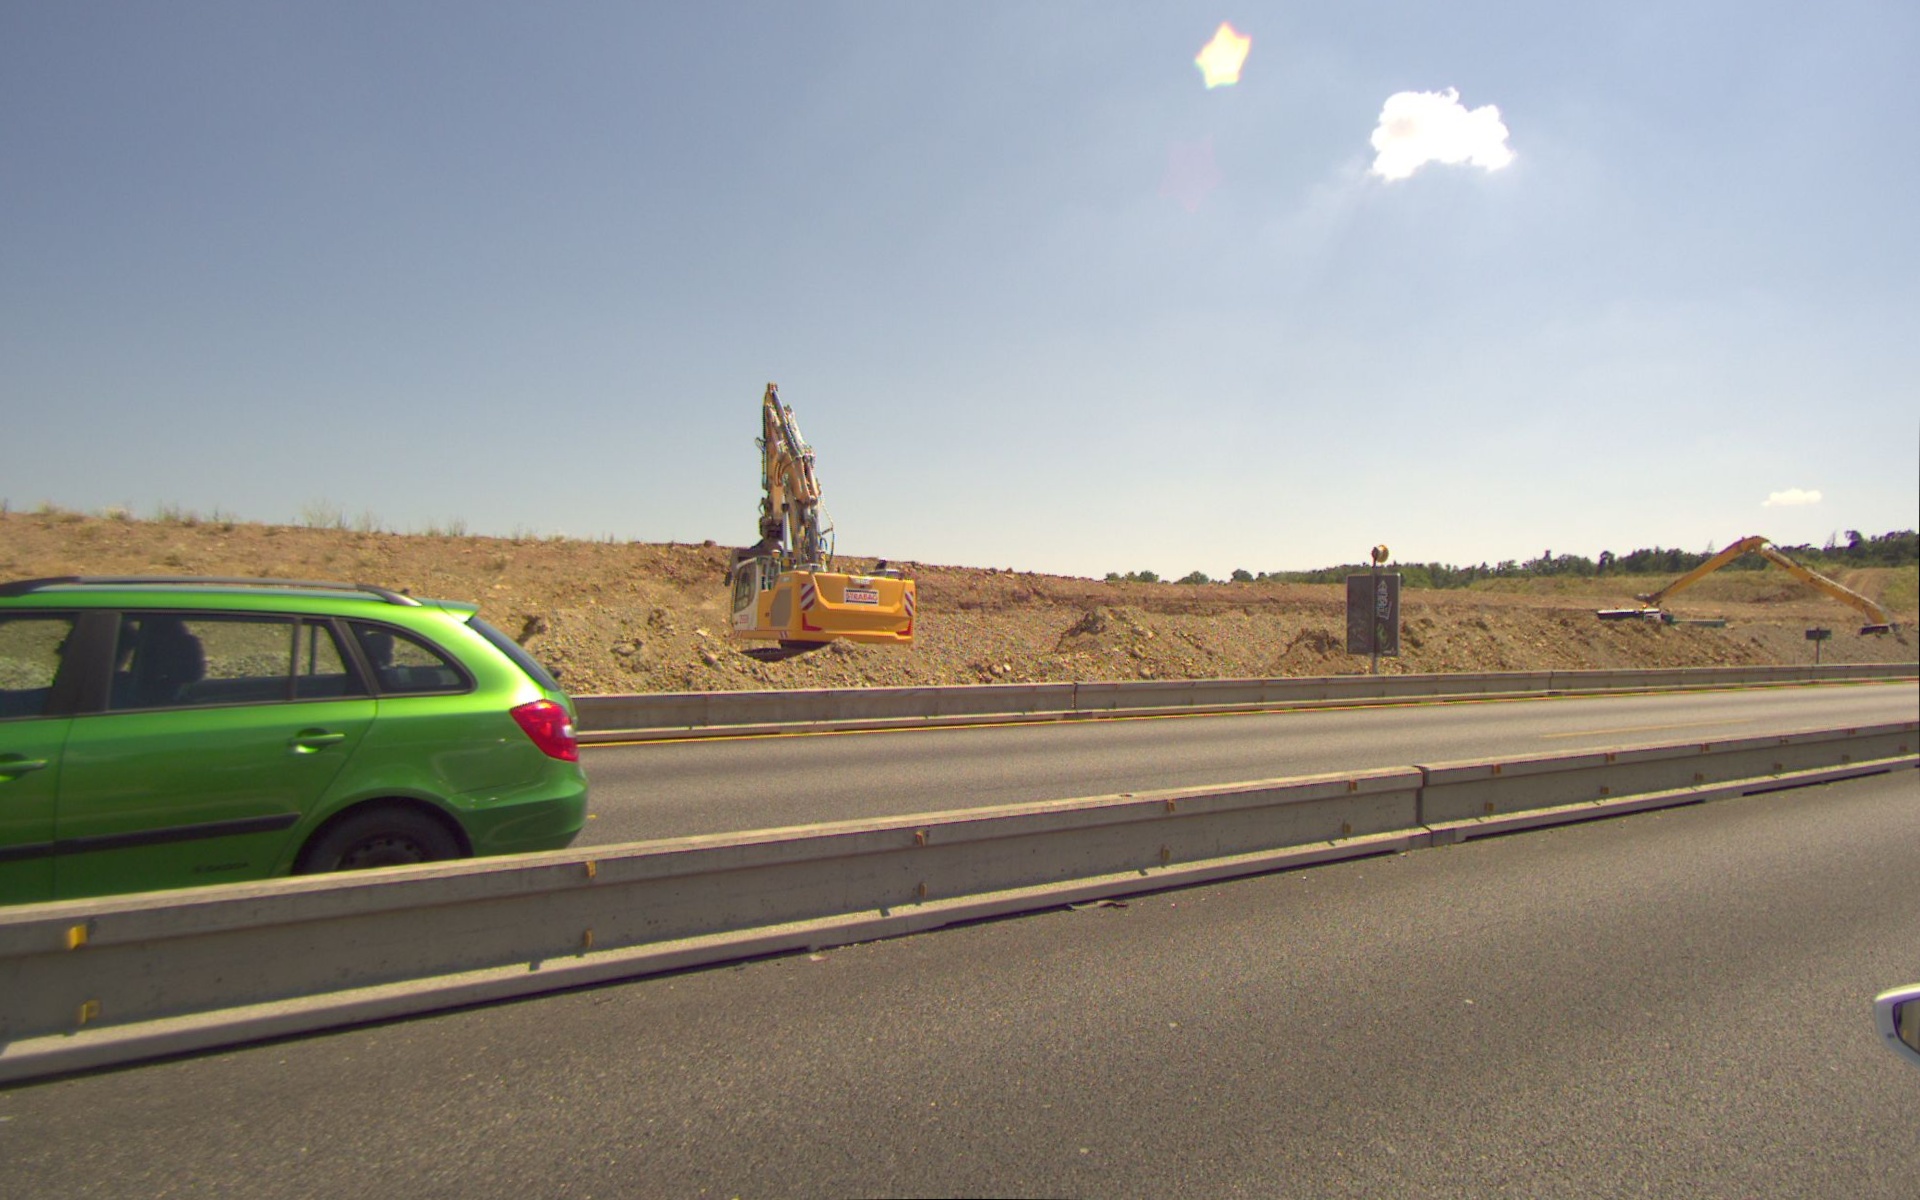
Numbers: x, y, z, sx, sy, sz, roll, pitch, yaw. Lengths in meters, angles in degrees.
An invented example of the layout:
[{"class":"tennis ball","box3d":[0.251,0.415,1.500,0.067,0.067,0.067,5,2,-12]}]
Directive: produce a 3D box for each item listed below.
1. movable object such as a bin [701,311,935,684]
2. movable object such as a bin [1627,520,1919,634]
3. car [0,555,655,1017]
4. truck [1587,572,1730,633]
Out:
[{"class":"movable object such as a bin","box3d":[-3.852,-2.081,25.235,3.402,7.816,7.607,1,-1,-28]},{"class":"movable object such as a bin","box3d":[59.188,-1.349,72.657,3.574,7.327,18.616,1,-1,-31]},{"class":"car","box3d":[-3.576,0.656,4.264,4.119,1.601,1.595,1,-1,-30]},{"class":"truck","box3d":[33.092,0.191,47.494,8.311,2.652,2.305,1,-1,-30]}]
